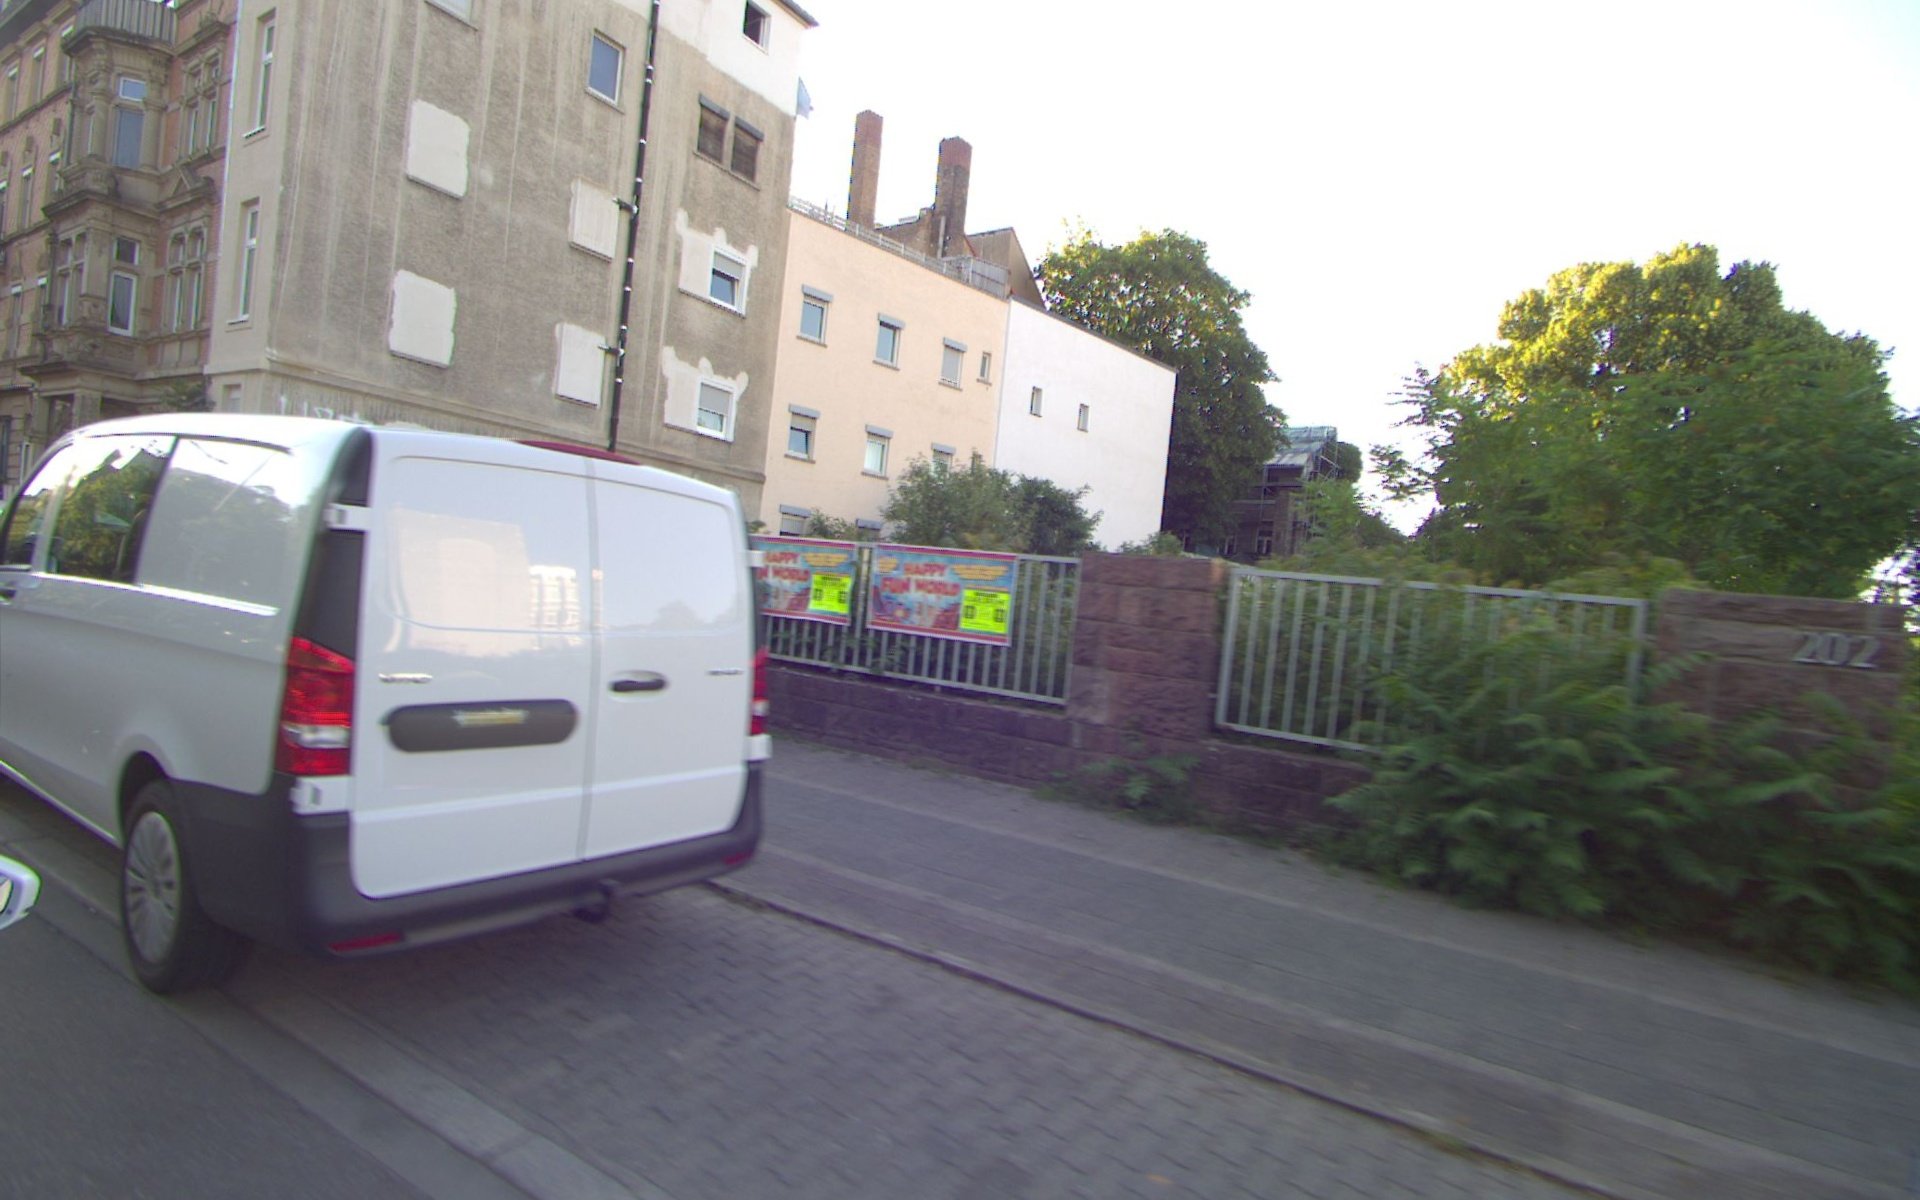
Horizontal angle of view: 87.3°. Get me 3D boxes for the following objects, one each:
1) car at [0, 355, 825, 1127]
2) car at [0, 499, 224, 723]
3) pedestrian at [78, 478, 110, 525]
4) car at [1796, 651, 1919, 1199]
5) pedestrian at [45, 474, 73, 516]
[{"bbox_3d":[-3.215,0.168,4.737,5.097,1.945,1.885,6,3,35],"label":"car"},{"bbox_3d":[-7.874,-0.092,8.009,4.567,1.404,1.727,6,3,33],"label":"car"},{"bbox_3d":[-20.505,-2.326,23.830,0.398,1.041,0.318,7,-1,-24],"label":"pedestrian"},{"bbox_3d":[3.797,1.112,0.851,4.426,1.596,1.773,6,3,33],"label":"car"},{"bbox_3d":[-20.523,-2.394,22.921,0.305,0.880,0.318,7,-1,-24],"label":"pedestrian"}]
